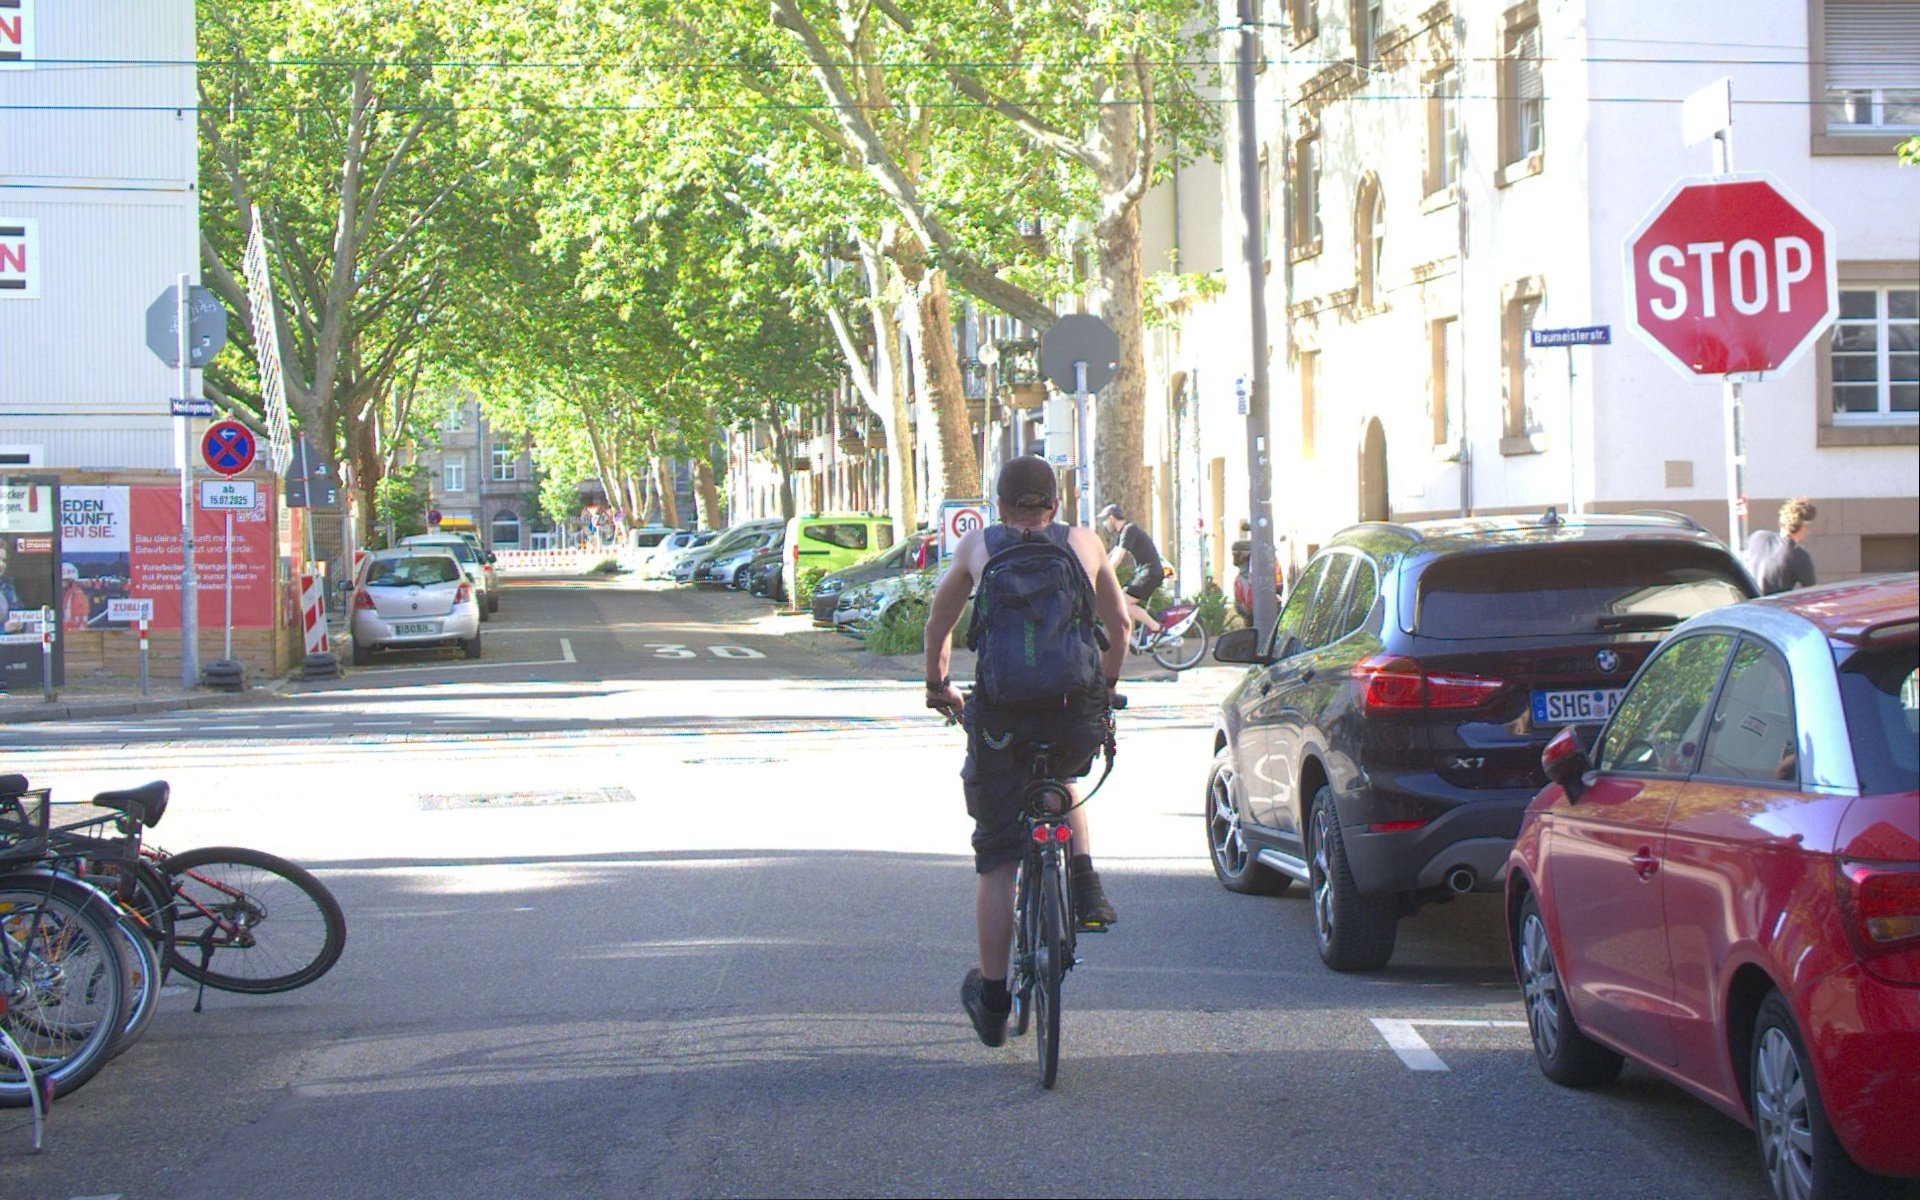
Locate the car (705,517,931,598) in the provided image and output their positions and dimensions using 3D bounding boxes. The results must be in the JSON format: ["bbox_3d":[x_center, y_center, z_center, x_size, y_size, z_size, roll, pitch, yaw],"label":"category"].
[{"bbox_3d":[-2.927,-0.889,70.668,4.460,1.565,1.729,-1,1,-8],"label":"car"}]

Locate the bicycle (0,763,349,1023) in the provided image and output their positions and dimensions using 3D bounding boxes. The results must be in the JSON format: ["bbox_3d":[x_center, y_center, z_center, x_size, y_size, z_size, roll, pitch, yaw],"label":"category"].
[{"bbox_3d":[-2.775,1.001,11.831,1.308,0.815,0.371,-1,1,-10],"label":"bicycle"}]

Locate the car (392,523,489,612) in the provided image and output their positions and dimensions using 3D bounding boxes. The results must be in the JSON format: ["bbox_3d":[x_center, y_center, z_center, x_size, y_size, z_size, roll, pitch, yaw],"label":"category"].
[{"bbox_3d":[-9.506,-0.618,62.781,1.665,1.557,4.001,-1,1,-9],"label":"car"}]

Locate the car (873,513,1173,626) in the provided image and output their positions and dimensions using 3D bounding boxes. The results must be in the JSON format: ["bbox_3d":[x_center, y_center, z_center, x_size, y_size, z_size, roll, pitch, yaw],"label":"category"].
[{"bbox_3d":[0.961,-0.495,54.008,4.460,1.665,1.729,-1,1,-8],"label":"car"}]

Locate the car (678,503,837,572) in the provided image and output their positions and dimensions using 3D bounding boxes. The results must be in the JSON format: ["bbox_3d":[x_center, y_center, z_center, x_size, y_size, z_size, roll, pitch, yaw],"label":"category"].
[{"bbox_3d":[-5.912,-1.822,100.008,4.460,1.891,1.729,-1,1,-8],"label":"car"}]

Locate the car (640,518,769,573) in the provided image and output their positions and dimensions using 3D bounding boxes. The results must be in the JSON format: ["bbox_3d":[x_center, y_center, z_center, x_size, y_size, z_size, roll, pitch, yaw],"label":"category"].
[{"bbox_3d":[-9.148,-1.949,122.806,4.460,1.891,1.729,-1,1,-8],"label":"car"}]

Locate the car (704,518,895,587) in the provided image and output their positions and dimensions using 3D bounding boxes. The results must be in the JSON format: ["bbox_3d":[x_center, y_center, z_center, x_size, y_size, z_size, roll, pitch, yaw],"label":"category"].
[{"bbox_3d":[-3.902,-1.163,83.249,4.460,1.565,1.729,-1,1,-8],"label":"car"}]

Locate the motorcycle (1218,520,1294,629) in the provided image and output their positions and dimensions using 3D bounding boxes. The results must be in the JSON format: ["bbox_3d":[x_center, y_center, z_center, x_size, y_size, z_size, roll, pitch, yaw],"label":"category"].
[{"bbox_3d":[3.711,-0.338,43.197,0.513,1.328,1.764,-1,2,-10],"label":"motorcycle"}]

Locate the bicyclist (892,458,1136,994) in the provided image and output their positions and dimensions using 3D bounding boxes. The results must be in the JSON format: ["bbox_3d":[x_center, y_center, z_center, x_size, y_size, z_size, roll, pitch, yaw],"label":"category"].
[{"bbox_3d":[0.149,0.350,10.041,0.676,1.508,0.669,1,1,-1],"label":"bicyclist"}]

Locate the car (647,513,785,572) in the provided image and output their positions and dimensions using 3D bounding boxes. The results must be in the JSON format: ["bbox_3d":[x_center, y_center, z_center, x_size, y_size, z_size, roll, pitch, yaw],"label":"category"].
[{"bbox_3d":[-8.213,-1.929,115.425,4.460,1.891,1.729,-1,1,-8],"label":"car"}]

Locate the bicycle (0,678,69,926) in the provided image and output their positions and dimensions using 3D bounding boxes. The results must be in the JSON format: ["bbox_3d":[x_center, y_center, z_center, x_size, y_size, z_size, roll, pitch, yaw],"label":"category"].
[{"bbox_3d":[-4.709,0.880,15.831,0.457,1.042,1.687,-2,4,-41],"label":"bicycle"}]

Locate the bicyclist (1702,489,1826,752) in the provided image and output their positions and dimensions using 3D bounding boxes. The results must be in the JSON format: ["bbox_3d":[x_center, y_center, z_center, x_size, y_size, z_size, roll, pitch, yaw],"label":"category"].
[{"bbox_3d":[5.209,0.125,22.290,0.651,1.682,0.544,0,0,-5],"label":"bicyclist"}]

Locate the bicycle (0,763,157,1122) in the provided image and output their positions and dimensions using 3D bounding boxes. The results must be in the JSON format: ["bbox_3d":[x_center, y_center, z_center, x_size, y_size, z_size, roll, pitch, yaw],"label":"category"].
[{"bbox_3d":[-3.192,0.986,9.732,1.764,0.958,0.481,-1,1,-13],"label":"bicycle"}]

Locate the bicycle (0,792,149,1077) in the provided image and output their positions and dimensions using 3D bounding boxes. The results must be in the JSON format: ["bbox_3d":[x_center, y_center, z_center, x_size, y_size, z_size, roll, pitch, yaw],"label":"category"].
[{"bbox_3d":[-3.209,1.058,10.618,1.308,0.815,0.382,-3,2,-10],"label":"bicycle"}]

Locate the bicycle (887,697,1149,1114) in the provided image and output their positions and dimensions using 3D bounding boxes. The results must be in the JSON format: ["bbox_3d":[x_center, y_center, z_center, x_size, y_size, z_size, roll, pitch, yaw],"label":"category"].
[{"bbox_3d":[0.144,0.839,10.093,0.689,1.013,1.907,1,1,-1],"label":"bicycle"}]

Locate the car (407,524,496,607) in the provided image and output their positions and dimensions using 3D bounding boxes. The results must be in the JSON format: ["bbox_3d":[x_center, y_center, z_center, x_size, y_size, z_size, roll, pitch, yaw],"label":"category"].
[{"bbox_3d":[-10.152,-0.715,68.452,1.665,1.557,4.520,-1,1,-9],"label":"car"}]

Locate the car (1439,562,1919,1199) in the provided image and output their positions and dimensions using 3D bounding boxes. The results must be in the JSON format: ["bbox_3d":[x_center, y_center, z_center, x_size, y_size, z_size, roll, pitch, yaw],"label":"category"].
[{"bbox_3d":[2.417,0.677,8.858,1.645,1.498,3.955,0,1,-2],"label":"car"}]

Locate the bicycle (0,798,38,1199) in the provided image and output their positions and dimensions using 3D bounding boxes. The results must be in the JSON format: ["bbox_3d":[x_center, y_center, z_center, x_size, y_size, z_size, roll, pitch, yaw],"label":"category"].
[{"bbox_3d":[-3.171,0.990,8.291,1.764,0.958,0.405,-1,1,-2],"label":"bicycle"}]

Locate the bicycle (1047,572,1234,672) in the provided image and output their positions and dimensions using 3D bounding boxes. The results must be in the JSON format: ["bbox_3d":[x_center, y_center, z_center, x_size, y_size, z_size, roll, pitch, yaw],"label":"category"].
[{"bbox_3d":[1.958,0.227,37.308,1.915,1.015,0.682,-2,1,-25],"label":"bicycle"}]

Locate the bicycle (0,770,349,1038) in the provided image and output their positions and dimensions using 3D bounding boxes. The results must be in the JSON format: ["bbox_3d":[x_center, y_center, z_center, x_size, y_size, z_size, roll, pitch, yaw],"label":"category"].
[{"bbox_3d":[-2.711,1.007,11.463,1.308,0.815,0.355,-1,1,-10],"label":"bicycle"}]

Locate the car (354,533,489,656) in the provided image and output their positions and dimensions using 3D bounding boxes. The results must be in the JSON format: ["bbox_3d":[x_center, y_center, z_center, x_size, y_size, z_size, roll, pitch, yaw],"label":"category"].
[{"bbox_3d":[-7.297,-0.109,46.503,1.643,1.489,4.001,-3,2,-9],"label":"car"}]

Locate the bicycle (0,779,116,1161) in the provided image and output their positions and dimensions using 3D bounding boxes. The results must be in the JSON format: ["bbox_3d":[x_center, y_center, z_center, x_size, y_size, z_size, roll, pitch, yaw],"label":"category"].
[{"bbox_3d":[-3.191,0.989,9.145,1.764,0.958,0.443,-1,1,-2],"label":"bicycle"}]

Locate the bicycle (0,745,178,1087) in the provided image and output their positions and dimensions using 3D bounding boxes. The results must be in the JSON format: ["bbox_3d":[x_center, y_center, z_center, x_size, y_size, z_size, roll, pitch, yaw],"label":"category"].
[{"bbox_3d":[-3.243,0.944,10.163,1.764,0.958,0.428,-1,1,-8],"label":"bicycle"}]

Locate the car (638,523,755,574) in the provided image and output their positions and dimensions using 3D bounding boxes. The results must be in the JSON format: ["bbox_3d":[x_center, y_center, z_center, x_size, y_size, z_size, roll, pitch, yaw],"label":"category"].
[{"bbox_3d":[-10.337,-2.030,134.757,4.460,1.891,1.729,-1,1,-8],"label":"car"}]

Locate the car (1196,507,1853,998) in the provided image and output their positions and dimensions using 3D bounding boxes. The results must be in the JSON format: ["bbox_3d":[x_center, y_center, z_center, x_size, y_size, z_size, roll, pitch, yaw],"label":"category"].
[{"bbox_3d":[2.062,0.479,13.757,1.760,1.656,4.198,0,1,-2],"label":"car"}]

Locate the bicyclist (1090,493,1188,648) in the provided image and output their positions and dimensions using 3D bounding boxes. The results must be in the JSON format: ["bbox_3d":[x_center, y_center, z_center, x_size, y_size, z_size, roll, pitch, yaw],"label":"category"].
[{"bbox_3d":[1.943,-0.329,37.291,0.809,1.652,0.682,-2,1,-25],"label":"bicyclist"}]

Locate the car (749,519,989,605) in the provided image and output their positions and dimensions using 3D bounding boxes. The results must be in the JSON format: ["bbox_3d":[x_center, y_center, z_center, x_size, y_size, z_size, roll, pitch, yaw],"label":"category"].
[{"bbox_3d":[-1.783,-0.759,66.841,4.460,1.565,1.729,-1,1,-8],"label":"car"}]

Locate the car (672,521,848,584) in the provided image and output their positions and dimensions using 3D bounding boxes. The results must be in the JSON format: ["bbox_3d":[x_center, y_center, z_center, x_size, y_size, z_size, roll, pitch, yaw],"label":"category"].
[{"bbox_3d":[-5.275,-1.264,90.378,4.460,1.565,1.729,-1,1,-8],"label":"car"}]

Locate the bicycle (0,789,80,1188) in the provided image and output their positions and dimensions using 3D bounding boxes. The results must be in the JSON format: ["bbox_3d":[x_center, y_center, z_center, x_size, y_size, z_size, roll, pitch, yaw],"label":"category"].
[{"bbox_3d":[-3.175,0.991,8.708,1.764,0.958,0.422,-1,1,-2],"label":"bicycle"}]

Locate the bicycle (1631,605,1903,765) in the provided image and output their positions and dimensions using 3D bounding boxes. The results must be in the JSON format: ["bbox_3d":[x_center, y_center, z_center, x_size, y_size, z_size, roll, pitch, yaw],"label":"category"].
[{"bbox_3d":[5.224,0.544,22.290,1.623,1.013,0.553,0,0,-5],"label":"bicycle"}]

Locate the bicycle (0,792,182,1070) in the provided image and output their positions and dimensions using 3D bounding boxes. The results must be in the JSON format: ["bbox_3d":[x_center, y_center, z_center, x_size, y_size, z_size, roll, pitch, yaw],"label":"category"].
[{"bbox_3d":[-3.230,1.083,11.001,1.386,0.815,0.362,-3,2,-10],"label":"bicycle"}]

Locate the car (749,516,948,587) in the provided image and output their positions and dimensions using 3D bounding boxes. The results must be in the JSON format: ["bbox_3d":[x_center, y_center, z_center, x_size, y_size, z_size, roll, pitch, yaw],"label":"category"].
[{"bbox_3d":[-2.617,-1.140,80.182,4.460,1.565,1.729,-1,1,-8],"label":"car"}]

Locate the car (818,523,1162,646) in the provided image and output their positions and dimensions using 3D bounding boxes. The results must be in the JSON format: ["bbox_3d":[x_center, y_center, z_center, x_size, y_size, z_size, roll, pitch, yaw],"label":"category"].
[{"bbox_3d":[0.386,-0.229,46.968,4.460,1.565,1.729,-1,1,-8],"label":"car"}]

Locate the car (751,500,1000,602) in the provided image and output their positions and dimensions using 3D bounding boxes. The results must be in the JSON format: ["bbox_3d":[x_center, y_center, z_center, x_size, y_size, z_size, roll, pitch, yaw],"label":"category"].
[{"bbox_3d":[-1.612,-0.933,64.827,4.460,1.830,1.729,-1,1,-9],"label":"car"}]

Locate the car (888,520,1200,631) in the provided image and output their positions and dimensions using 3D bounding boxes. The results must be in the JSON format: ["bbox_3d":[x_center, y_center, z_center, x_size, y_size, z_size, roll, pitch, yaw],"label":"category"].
[{"bbox_3d":[1.246,-0.389,51.941,4.460,1.565,1.729,-1,1,-8],"label":"car"}]

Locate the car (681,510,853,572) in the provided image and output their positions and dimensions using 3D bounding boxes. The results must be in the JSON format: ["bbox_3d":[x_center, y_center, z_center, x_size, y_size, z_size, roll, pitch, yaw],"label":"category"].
[{"bbox_3d":[-5.208,-1.596,92.719,4.460,1.565,1.729,-1,1,-8],"label":"car"}]
